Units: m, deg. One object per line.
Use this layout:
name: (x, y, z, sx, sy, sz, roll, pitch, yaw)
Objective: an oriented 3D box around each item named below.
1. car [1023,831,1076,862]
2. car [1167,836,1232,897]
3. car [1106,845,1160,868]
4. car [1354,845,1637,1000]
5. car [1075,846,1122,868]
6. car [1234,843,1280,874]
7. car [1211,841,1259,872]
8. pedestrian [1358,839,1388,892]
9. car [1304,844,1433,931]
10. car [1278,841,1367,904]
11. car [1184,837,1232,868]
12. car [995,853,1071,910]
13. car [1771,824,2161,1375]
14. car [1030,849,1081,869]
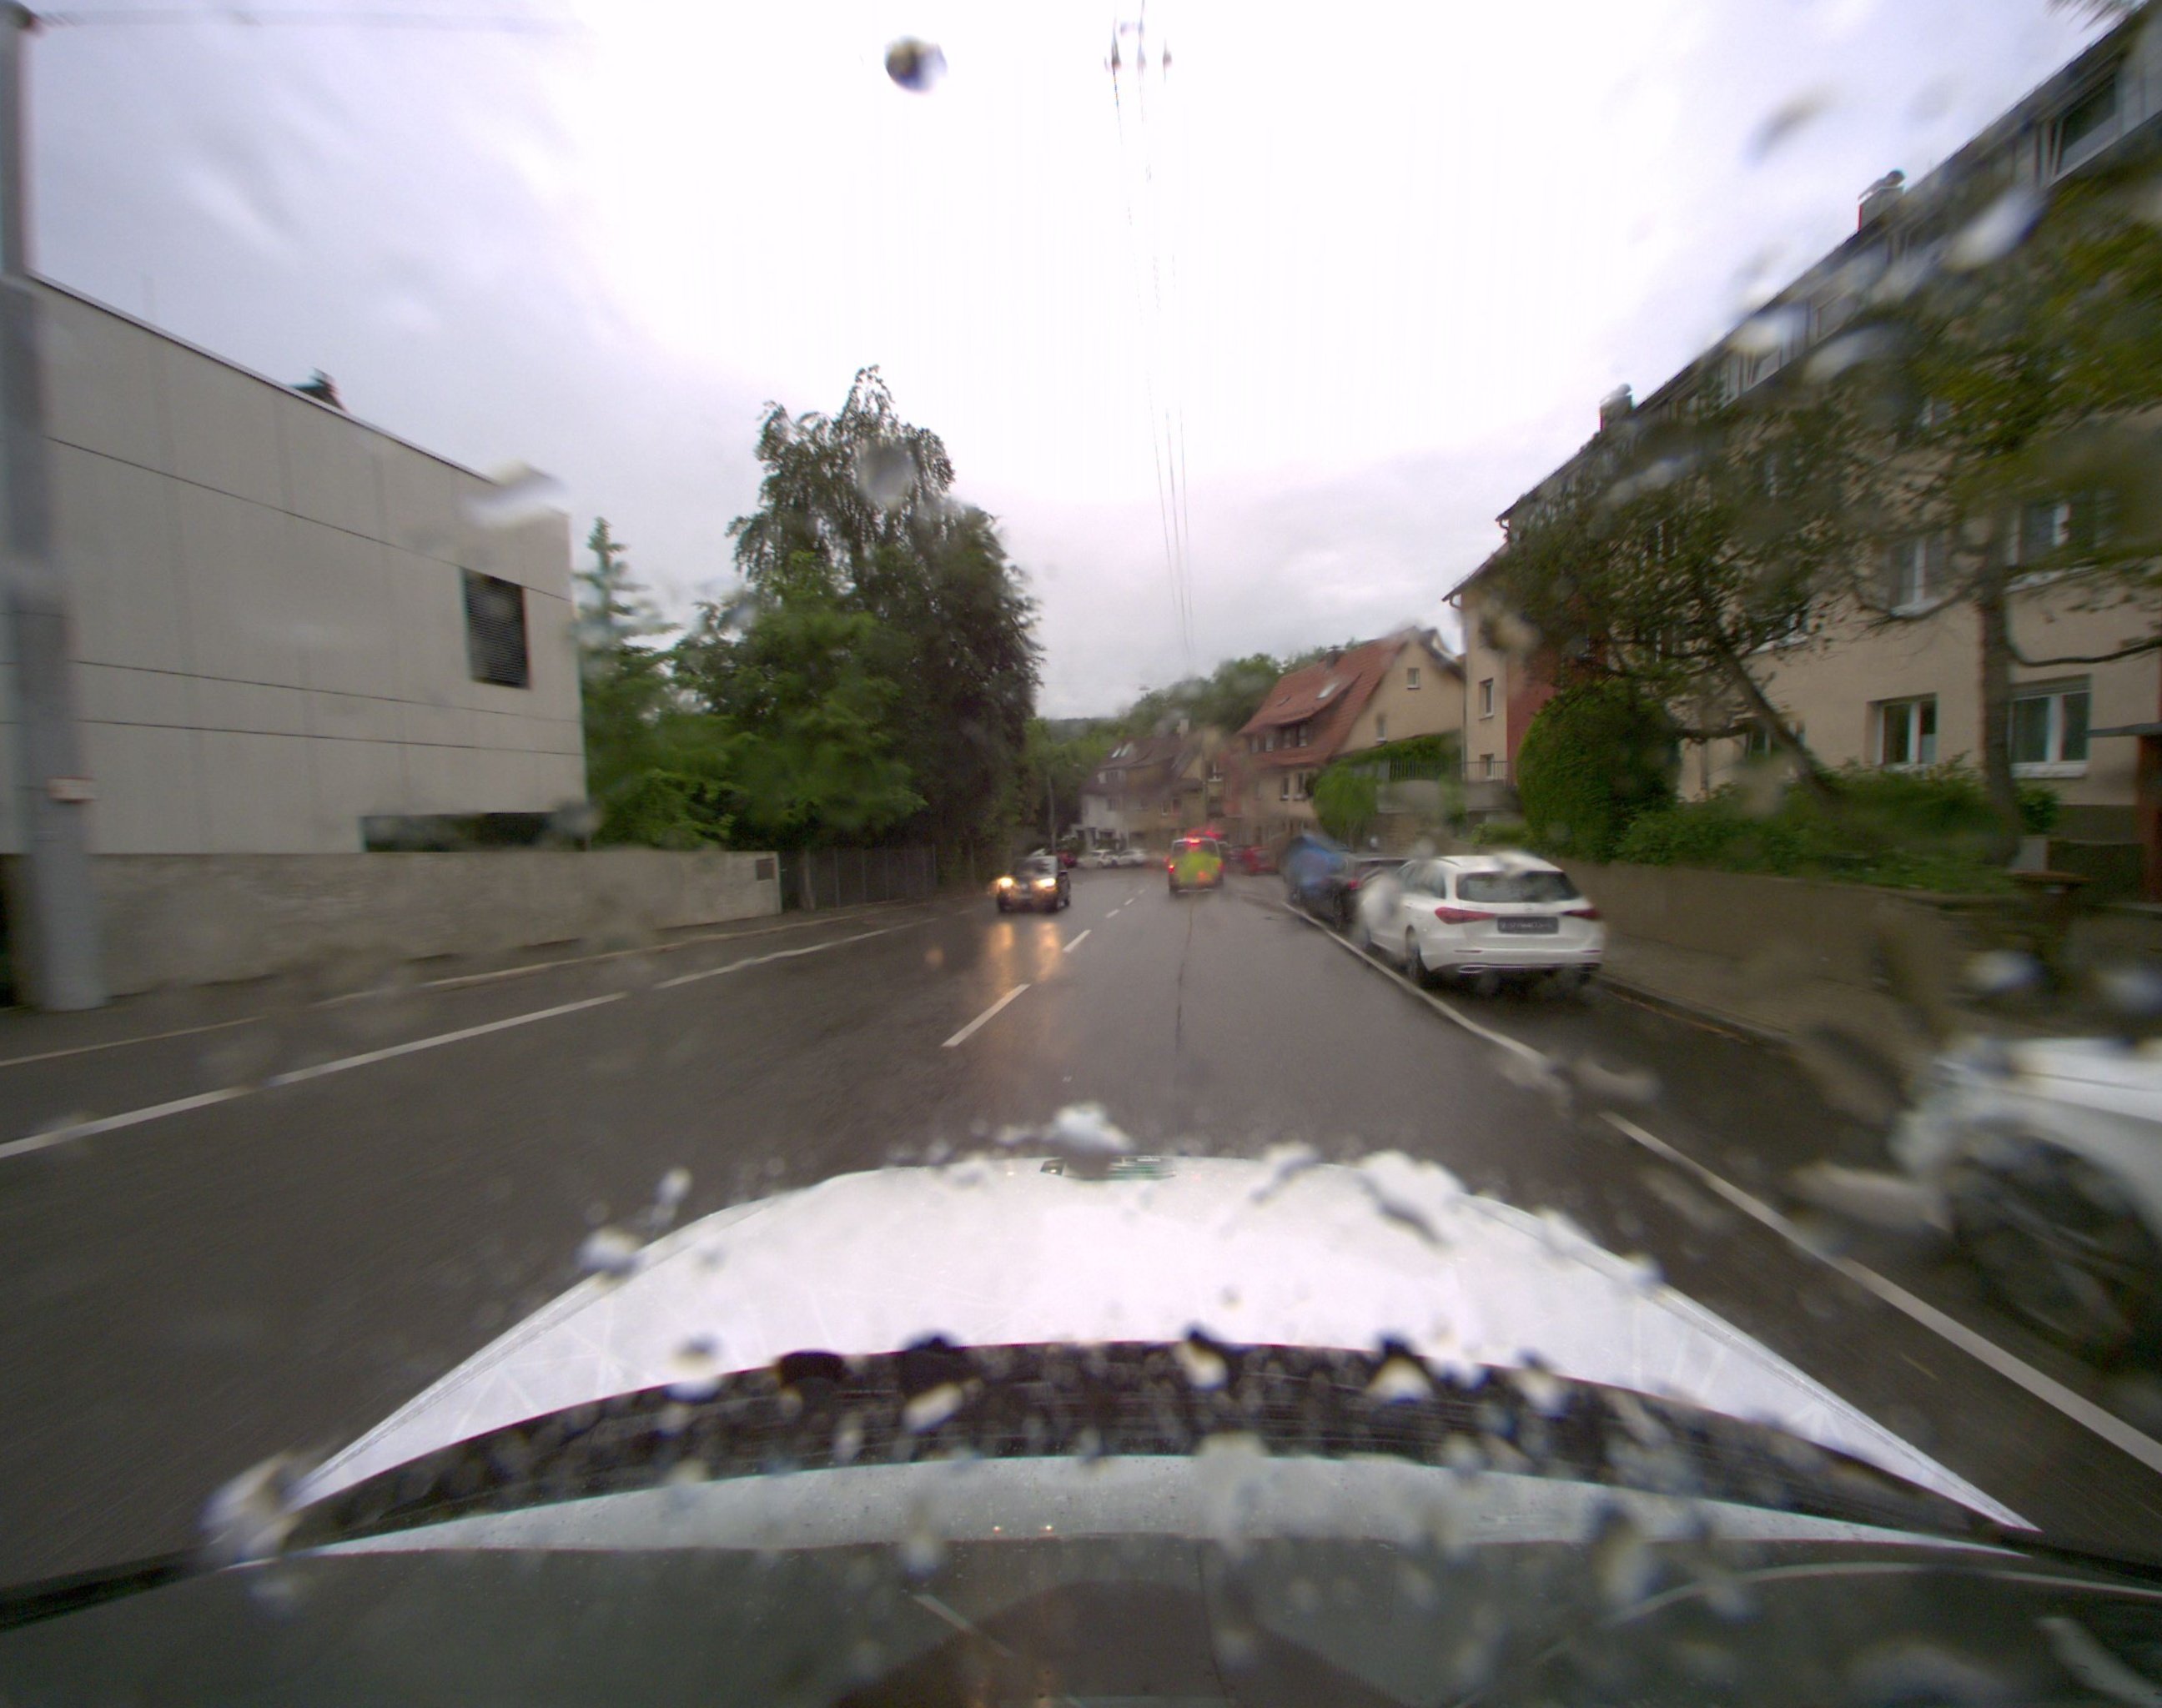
car: (-3.065, -0.765, 78.162, 4.417, 1.841, 1.985, -15, 7, -22)
car: (4.202, 0.433, 28.872, 1.982, 1.893, 4.581, -3, -1, 8)
car: (4.057, 0.212, 64.244, 1.927, 1.538, 4.369, -7, 2, -32)
car: (4.771, 0.664, 10.137, 1.797, 1.455, 4.263, -2, 1, 7)
car: (1.408, 0.280, 68.043, 1.780, 1.514, 3.779, -7, 2, -39)
car: (9.538, 0.199, 44.290, 1.610, 1.435, 3.581, -6, 2, 0)
car: (9.288, 0.110, 49.399, 1.612, 1.604, 4.405, -6, 2, -4)
pedestrian: (9.147, 0.357, 25.538, 0.622, 1.650, 0.610, -1, 0, -21)
car: (5.603, 0.577, 16.392, 1.679, 1.455, 4.265, -2, 1, 9)
car: (6.749, 0.449, 23.158, 1.724, 1.593, 4.263, -2, 1, 7)
car: (8.475, -0.113, 54.602, 1.706, 1.790, 4.310, -6, 2, -11)
car: (-1.252, 0.696, 22.868, 1.642, 1.420, 3.807, 0, 1, 4)
car: (3.720, 0.672, 1.208, 1.770, 1.435, 4.576, -4, 0, 6)
car: (-2.260, 0.439, 71.725, 4.141, 1.367, 1.798, -4, 2, 39)
